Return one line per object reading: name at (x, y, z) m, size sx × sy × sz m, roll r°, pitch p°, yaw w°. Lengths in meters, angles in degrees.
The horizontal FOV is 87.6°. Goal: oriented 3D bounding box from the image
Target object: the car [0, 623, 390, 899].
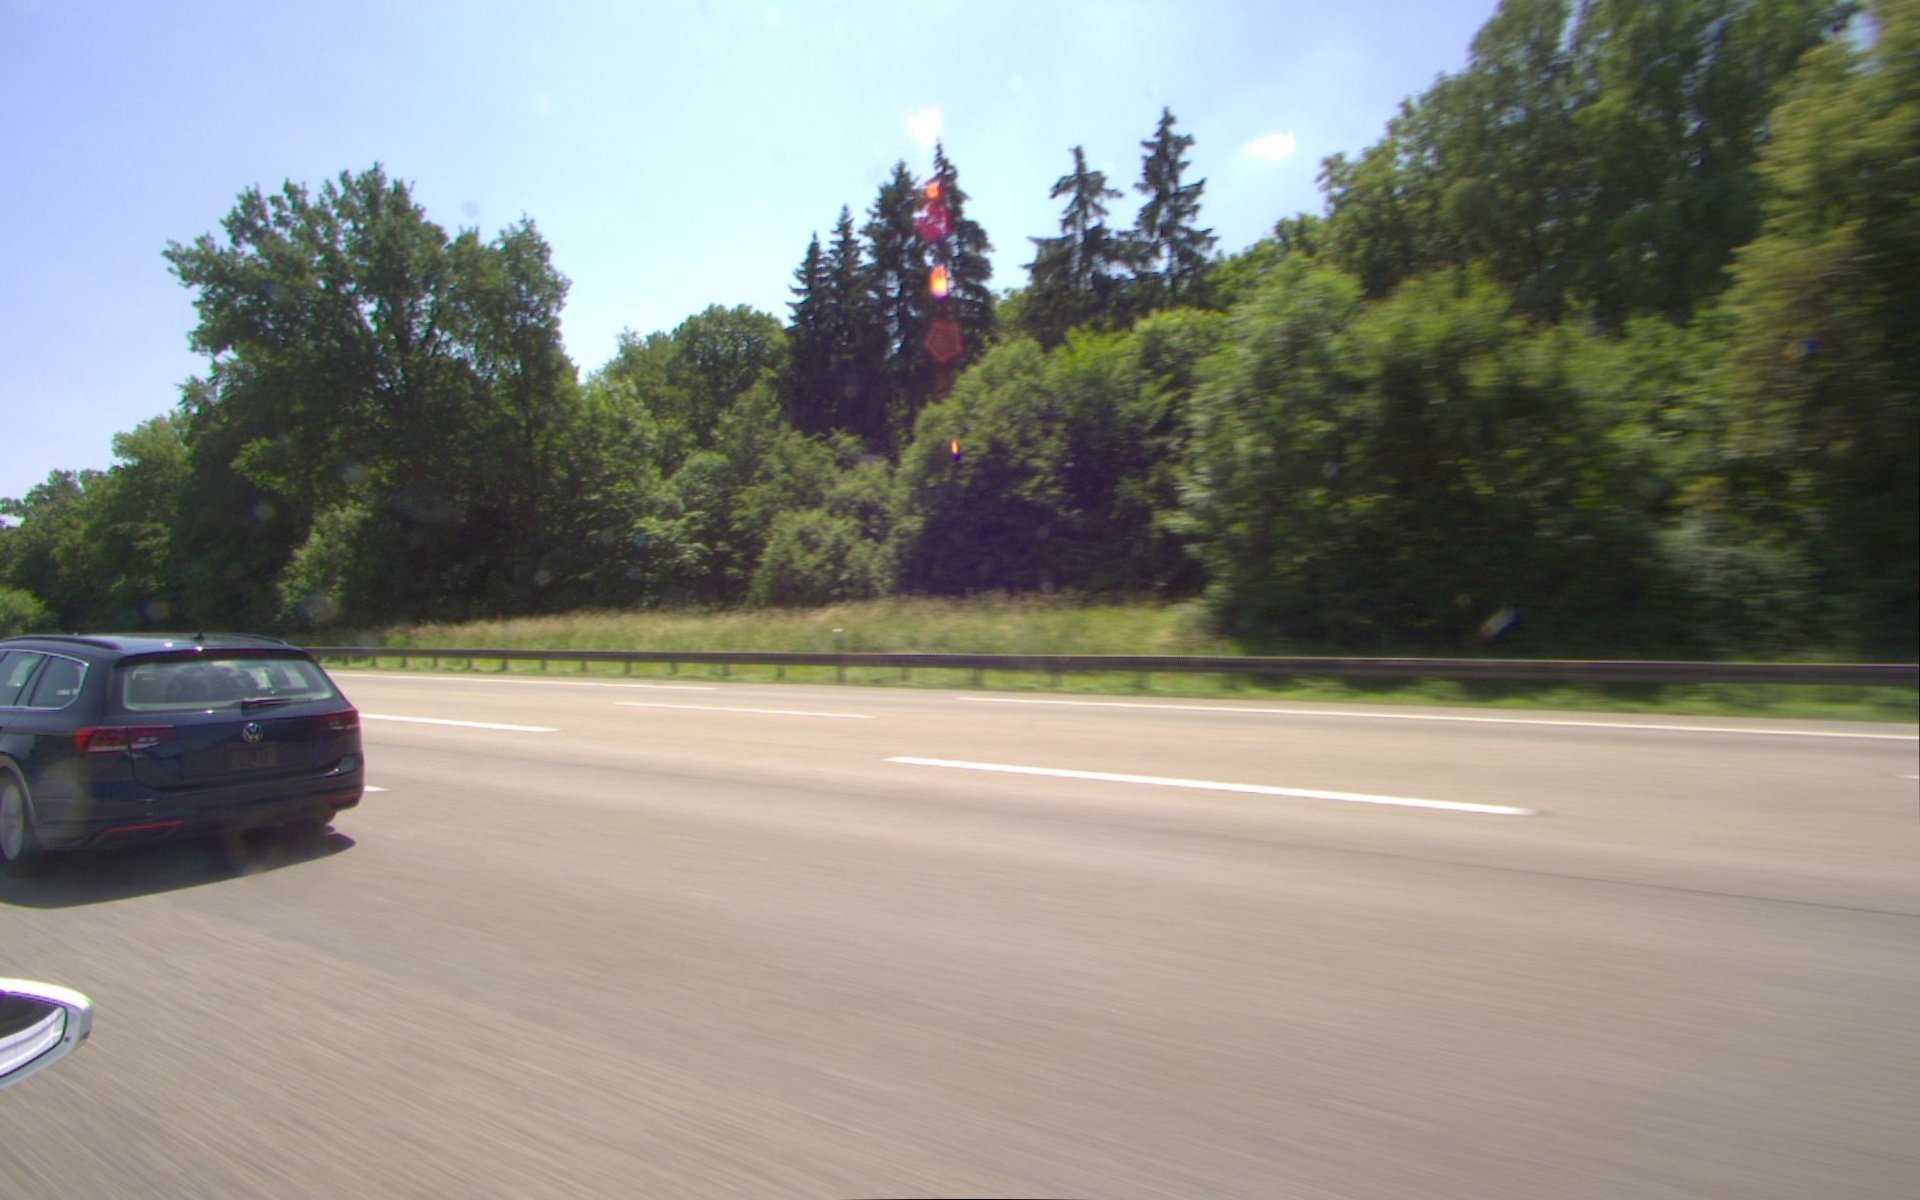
car at (-6.373, 0.907, 7.408) m, size 4.891 × 1.466 × 1.726 m, roll -1°, pitch -1°, yaw 33°
